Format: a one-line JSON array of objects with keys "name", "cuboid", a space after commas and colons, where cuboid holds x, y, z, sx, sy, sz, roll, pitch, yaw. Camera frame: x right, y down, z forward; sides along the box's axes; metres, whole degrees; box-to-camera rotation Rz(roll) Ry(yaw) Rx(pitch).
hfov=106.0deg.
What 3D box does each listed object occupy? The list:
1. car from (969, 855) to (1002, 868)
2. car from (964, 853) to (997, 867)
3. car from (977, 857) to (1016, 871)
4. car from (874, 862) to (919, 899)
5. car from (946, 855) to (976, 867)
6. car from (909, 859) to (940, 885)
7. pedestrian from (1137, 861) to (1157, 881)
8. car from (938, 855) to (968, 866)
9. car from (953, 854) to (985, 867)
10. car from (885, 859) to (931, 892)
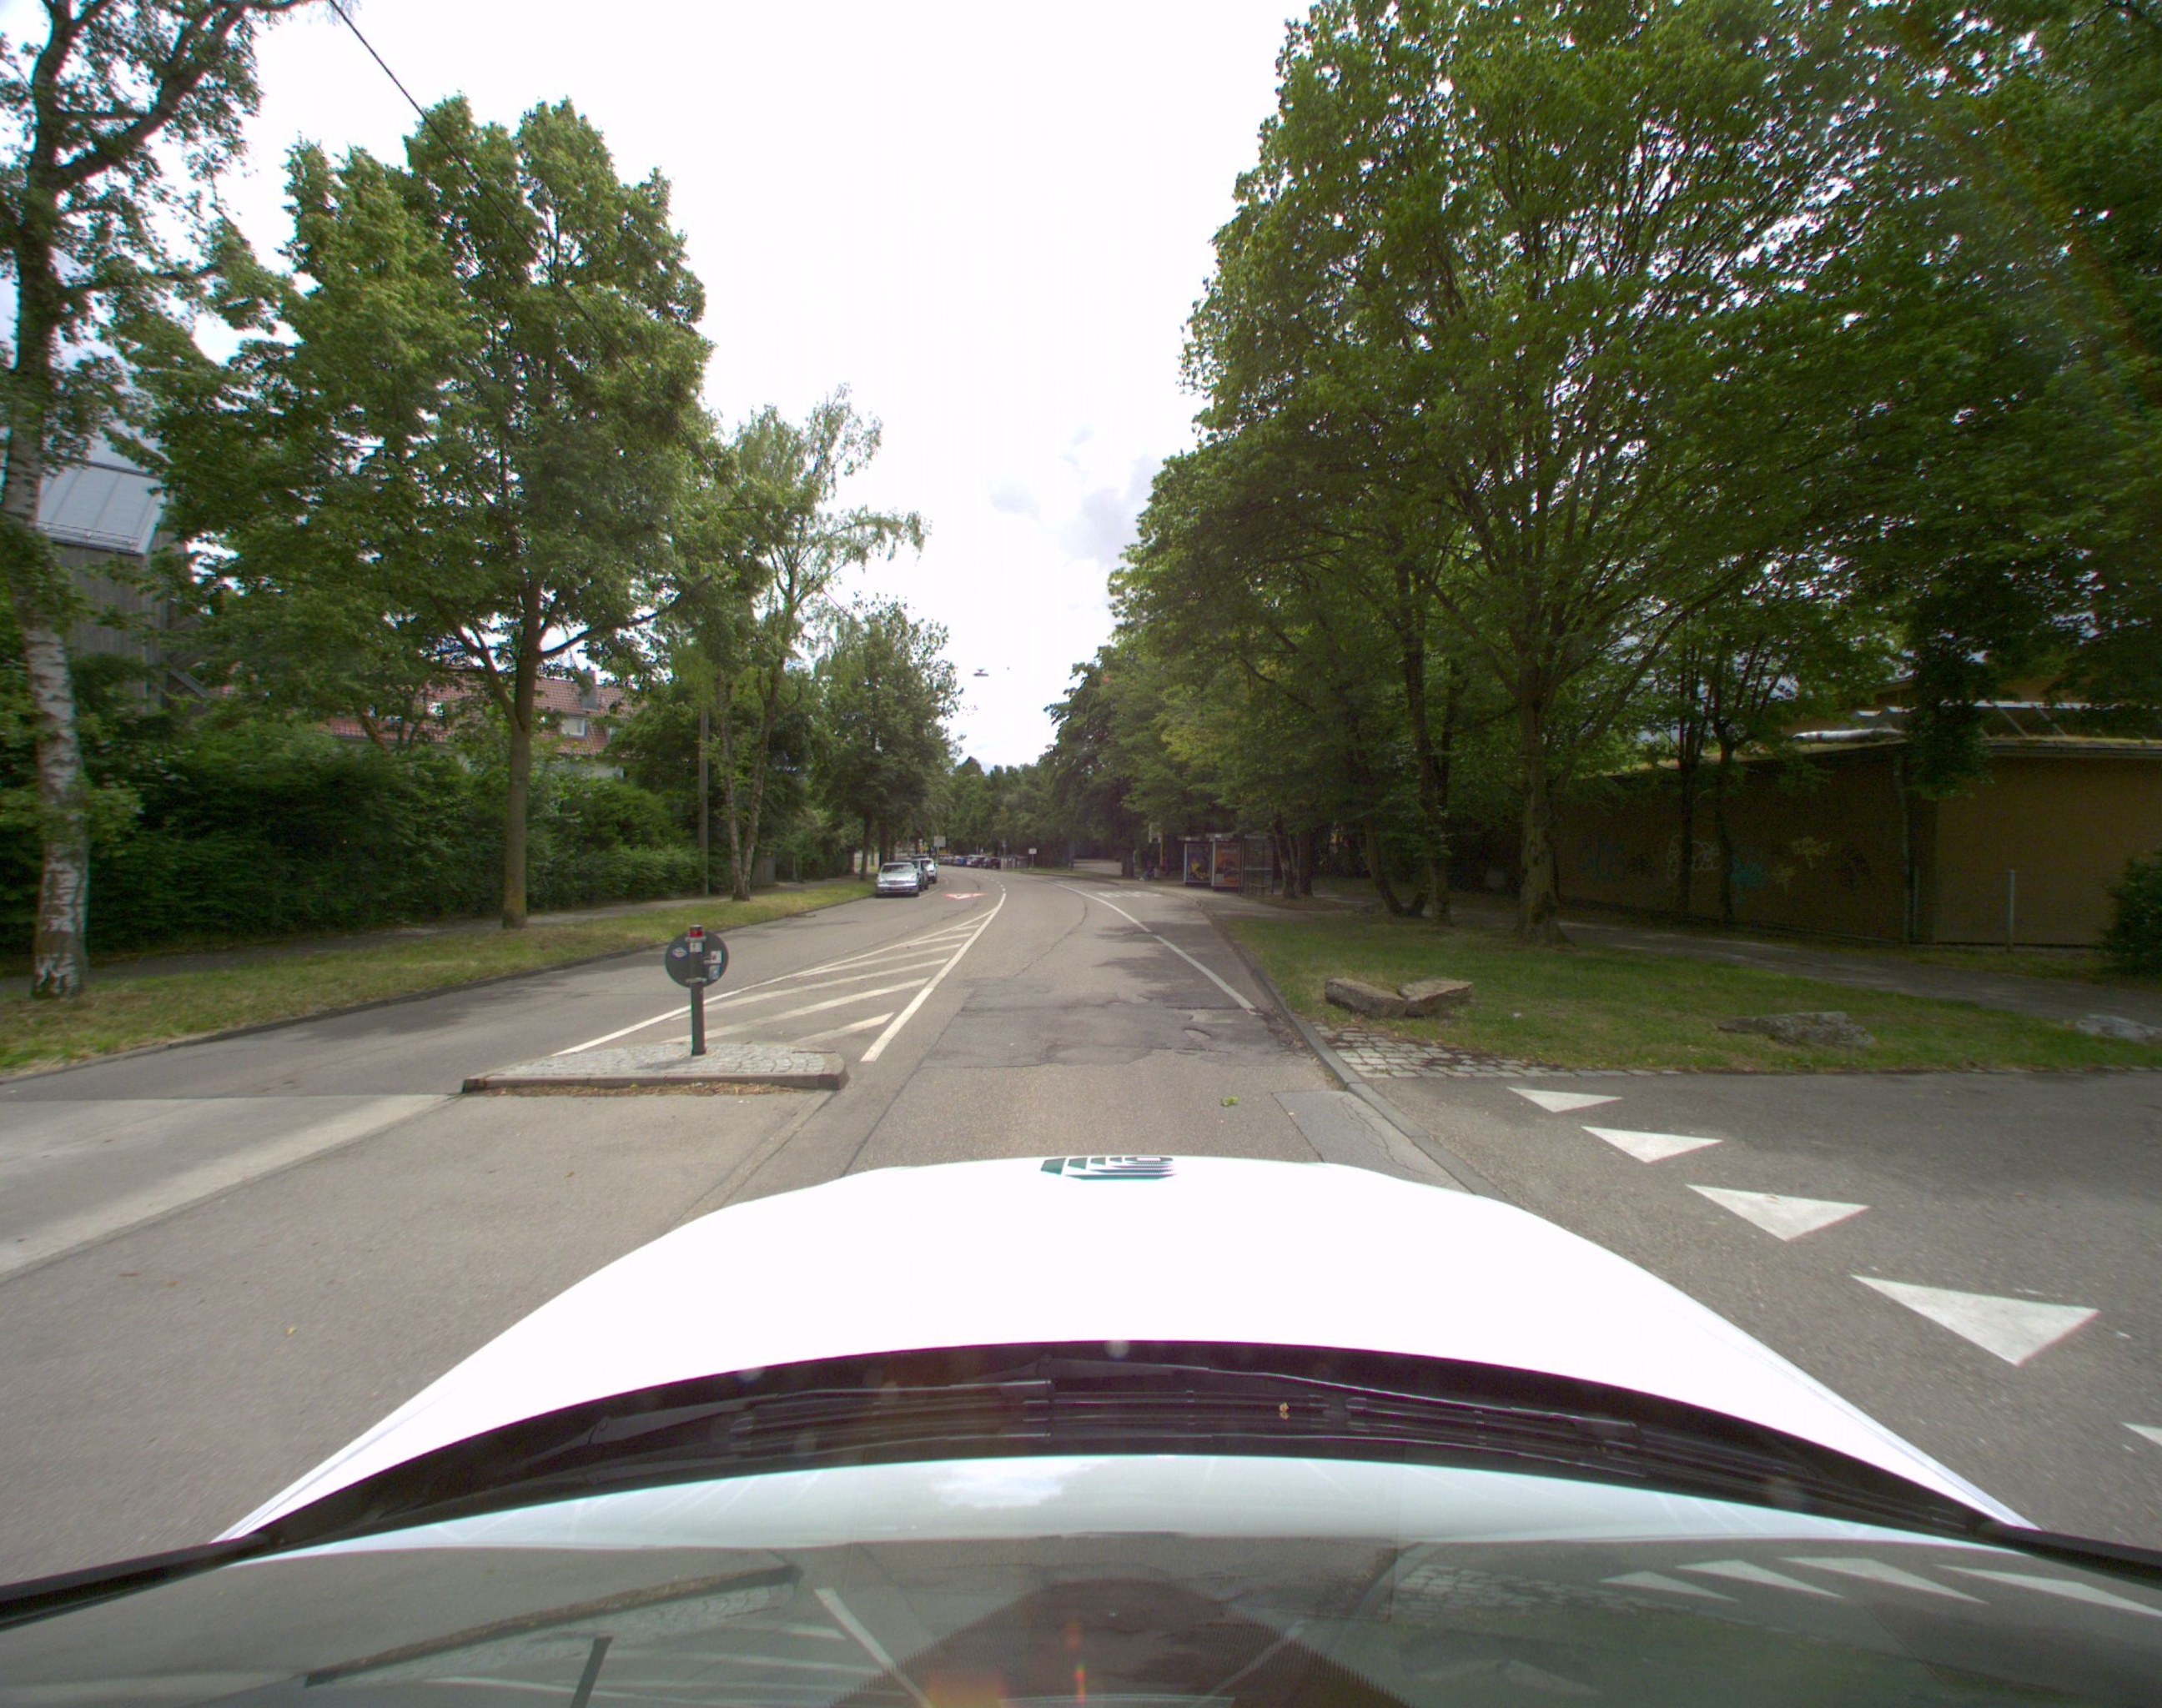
[{"name": "car", "cuboid": [-12.204, 0.932, 104.107, 3.849, 1.468, 1.726, 4, -1, -39]}, {"name": "car", "cuboid": [-13.129, 0.773, 106.682, 3.849, 1.720, 1.856, 4, -2, -39]}, {"name": "car", "cuboid": [-10.014, 1.138, 96.290, 4.019, 1.414, 2.034, 4, 0, -39]}, {"name": "car", "cuboid": [-7.745, 1.064, 34.428, 1.737, 1.416, 4.454, -1, 0, -12]}, {"name": "car", "cuboid": [-17.014, 0.948, 115.700, 3.849, 1.529, 1.726, 4, -3, -39]}, {"name": "car", "cuboid": [-9.941, 1.112, 51.902, 1.735, 1.578, 4.129, -1, 0, -9]}, {"name": "pedestrian", "cuboid": [3.981, 1.028, 48.907, 1.064, 1.182, 0.578, 0, -1, -11]}, {"name": "car", "cuboid": [-18.545, 0.928, 118.379, 3.904, 1.426, 1.809, 4, -3, -39]}, {"name": "car", "cuboid": [-15.280, 0.885, 111.067, 3.849, 1.529, 1.726, 4, -3, -39]}, {"name": "car", "cuboid": [-8.544, 1.039, 40.541, 1.733, 1.538, 4.181, -1, 0, -6]}]
